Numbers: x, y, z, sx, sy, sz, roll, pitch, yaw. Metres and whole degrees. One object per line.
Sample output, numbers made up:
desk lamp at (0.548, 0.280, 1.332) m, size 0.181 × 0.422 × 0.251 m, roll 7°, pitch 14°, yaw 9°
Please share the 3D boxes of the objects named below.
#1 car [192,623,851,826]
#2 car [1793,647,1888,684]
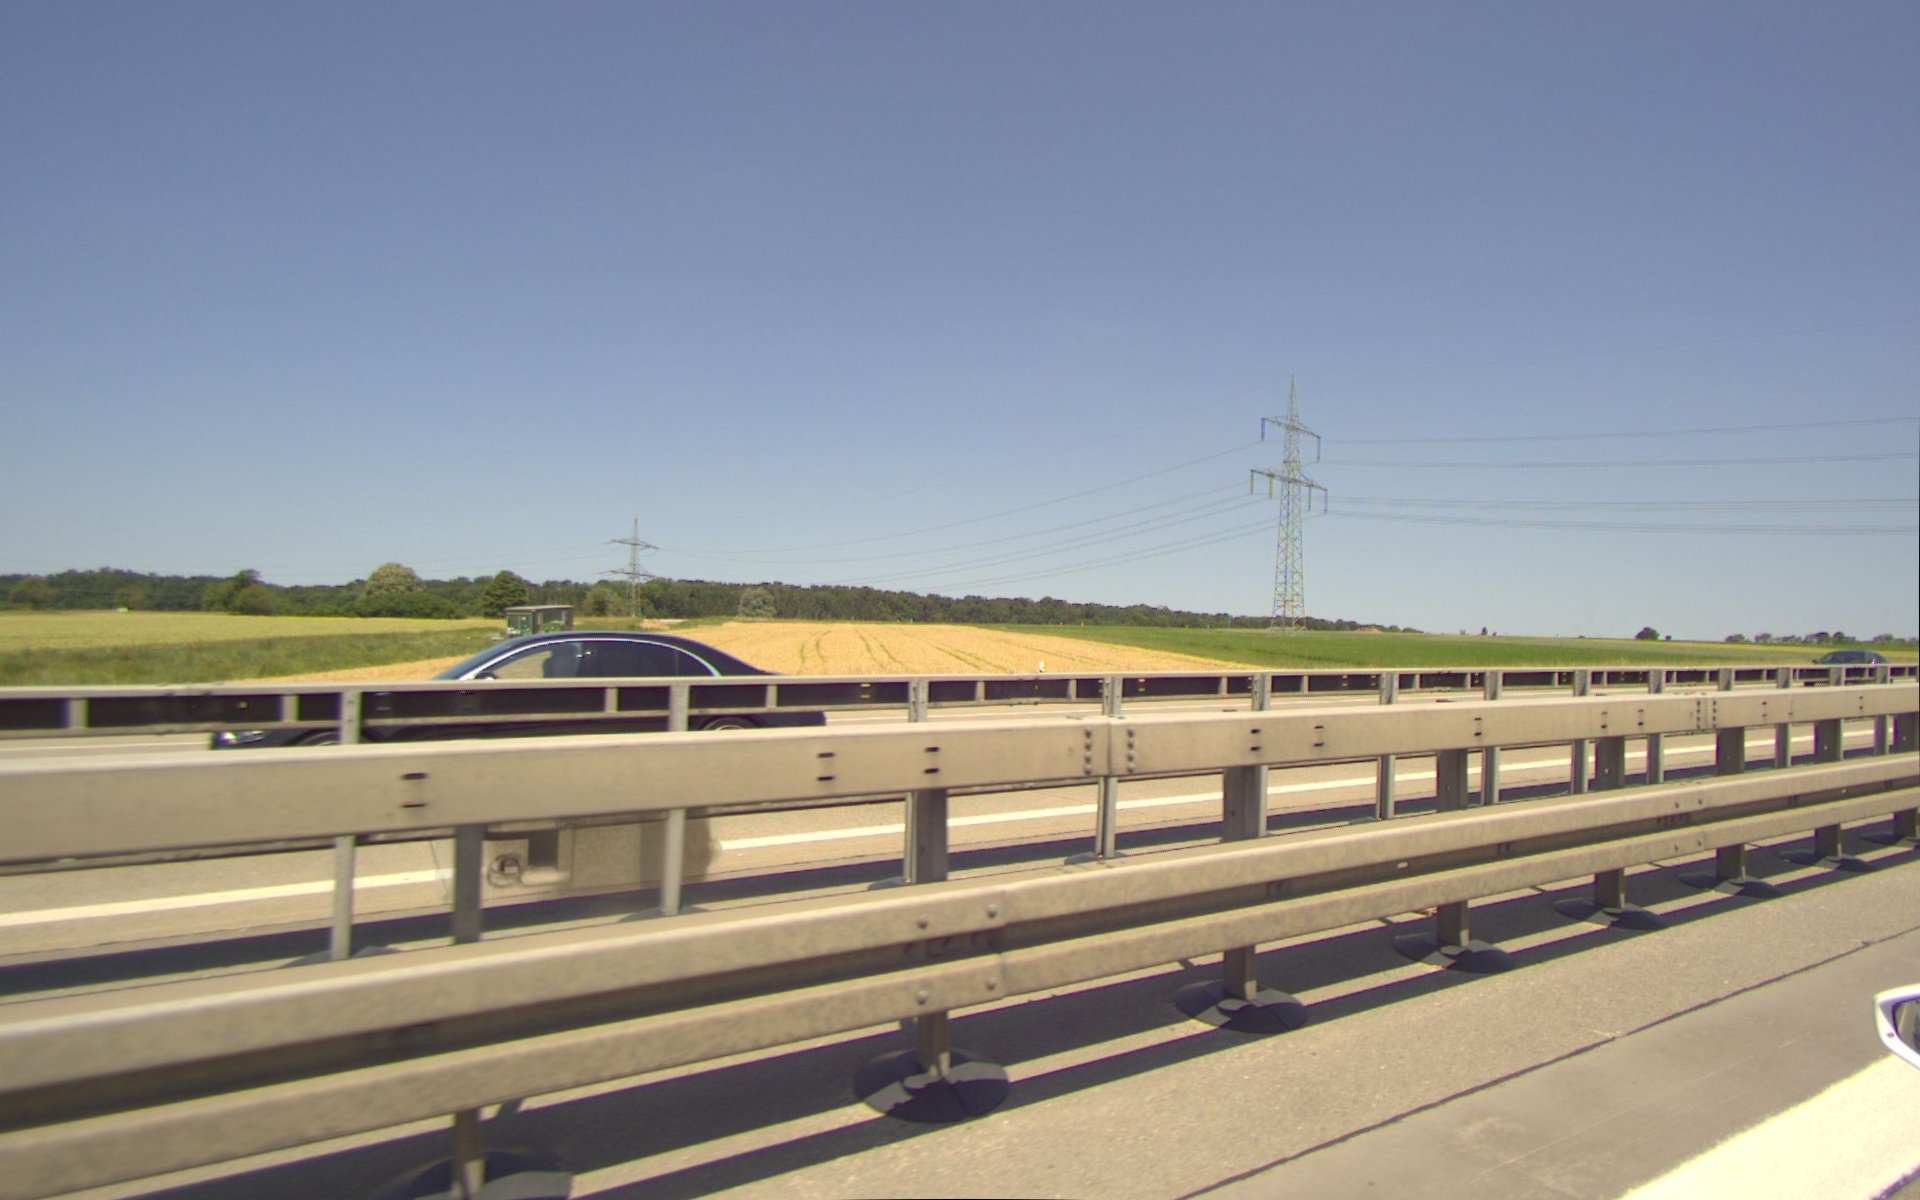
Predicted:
car at (-3.758, 1.034, 9.402) m, size 5.226 × 1.458 × 1.798 m, roll 2°, pitch -5°, yaw -32°
car at (33.853, 2.483, 38.586) m, size 3.994 × 1.323 × 1.566 m, roll 2°, pitch -2°, yaw -30°
